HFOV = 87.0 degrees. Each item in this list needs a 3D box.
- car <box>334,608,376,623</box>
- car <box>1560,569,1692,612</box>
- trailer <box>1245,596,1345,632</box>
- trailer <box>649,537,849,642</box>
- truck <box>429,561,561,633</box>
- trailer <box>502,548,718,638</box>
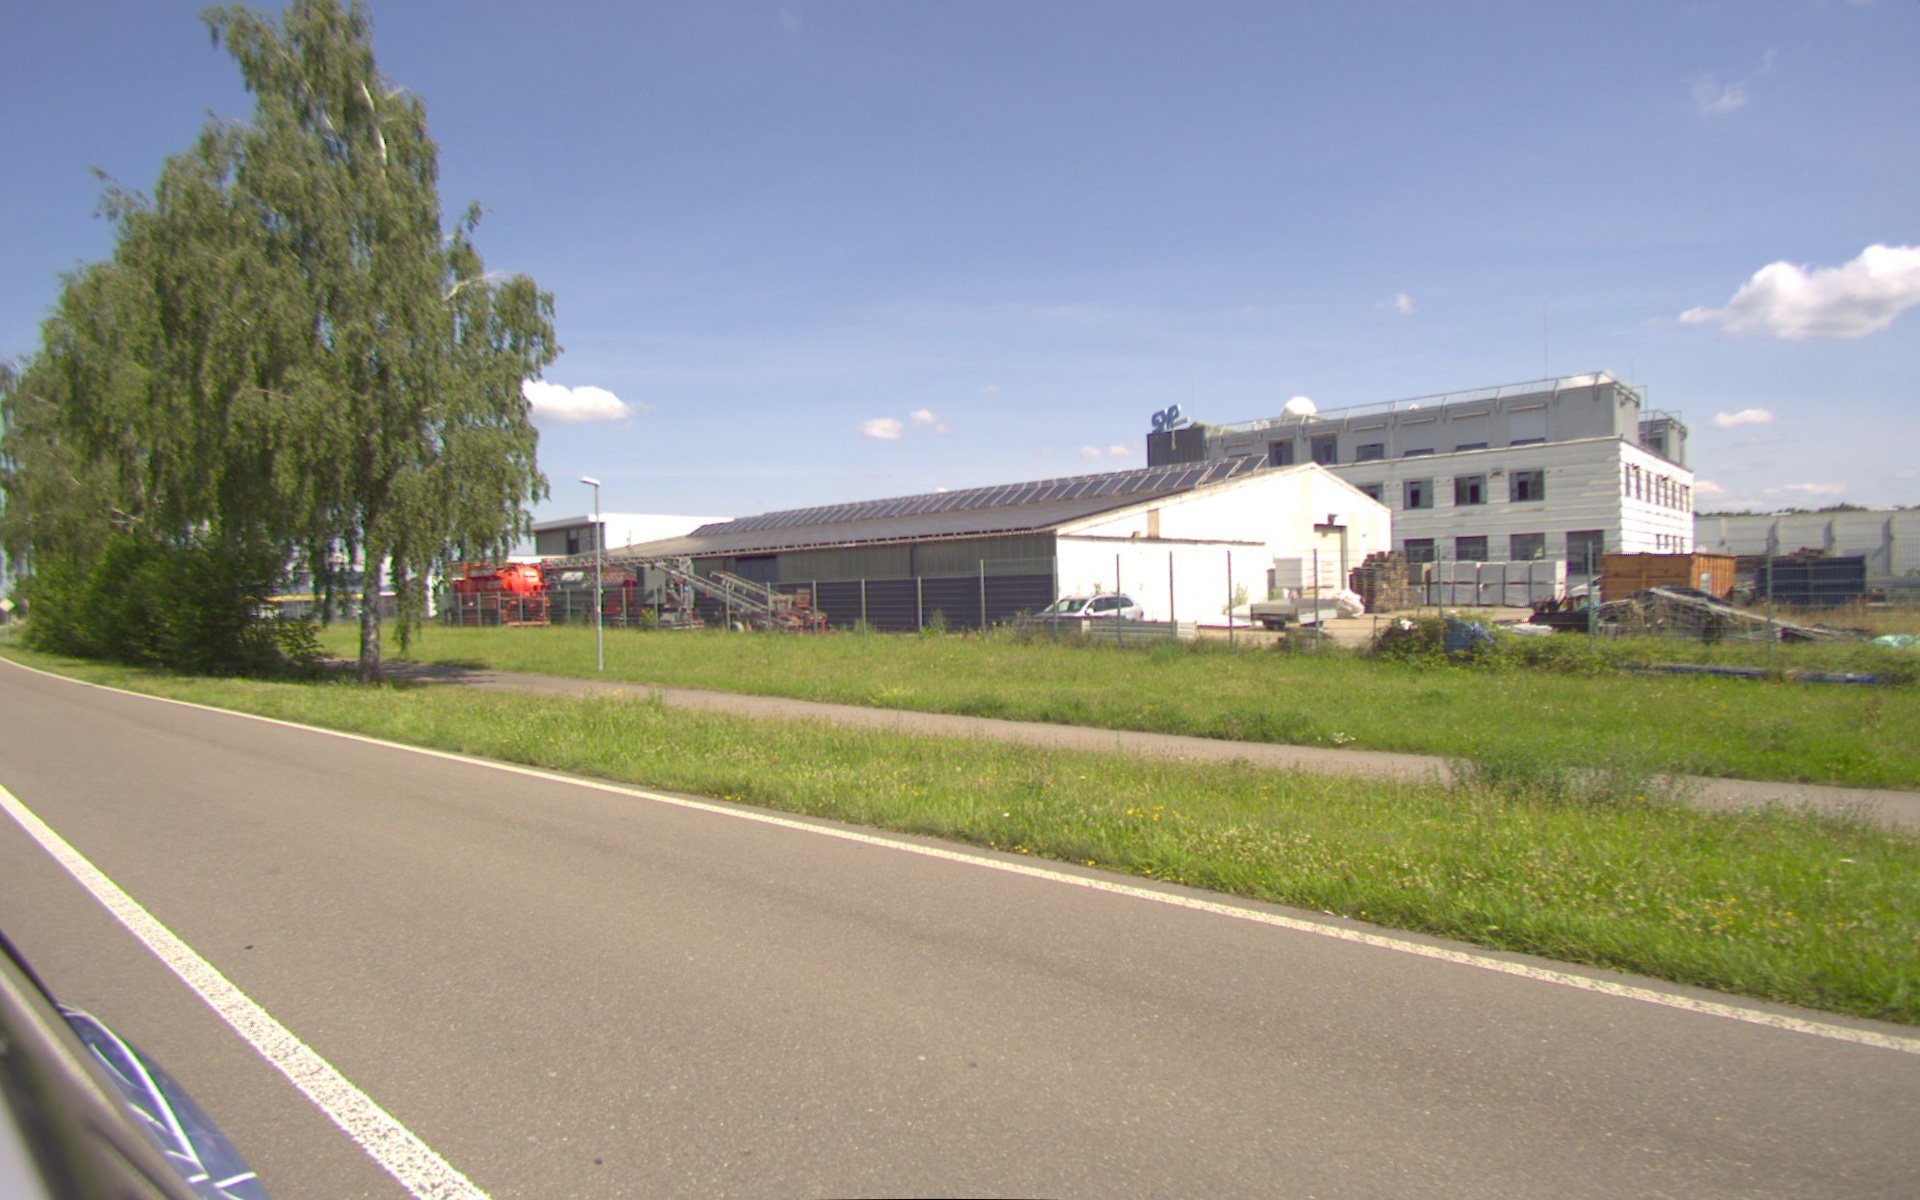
[{"bbox_3d":[-68.417,1.702,114.518,3.968,1.663,1.988,-1,0,19],"label":"car"},{"bbox_3d":[34.278,-0.455,52.201,5.524,2.026,1.724,-1,0,41],"label":"car"},{"bbox_3d":[11.928,0.485,35.958,1.904,1.175,3.943,-1,0,43],"label":"trailer"},{"bbox_3d":[-8.438,-0.340,39.561,8.661,3.672,3.361,-1,-1,44],"label":"trailer"},{"bbox_3d":[-26.153,-0.086,56.515,10.596,3.672,3.067,-1,-1,44],"label":"truck"},{"bbox_3d":[-16.935,-0.218,47.713,14.928,3.672,3.254,-1,-1,44],"label":"trailer"}]
